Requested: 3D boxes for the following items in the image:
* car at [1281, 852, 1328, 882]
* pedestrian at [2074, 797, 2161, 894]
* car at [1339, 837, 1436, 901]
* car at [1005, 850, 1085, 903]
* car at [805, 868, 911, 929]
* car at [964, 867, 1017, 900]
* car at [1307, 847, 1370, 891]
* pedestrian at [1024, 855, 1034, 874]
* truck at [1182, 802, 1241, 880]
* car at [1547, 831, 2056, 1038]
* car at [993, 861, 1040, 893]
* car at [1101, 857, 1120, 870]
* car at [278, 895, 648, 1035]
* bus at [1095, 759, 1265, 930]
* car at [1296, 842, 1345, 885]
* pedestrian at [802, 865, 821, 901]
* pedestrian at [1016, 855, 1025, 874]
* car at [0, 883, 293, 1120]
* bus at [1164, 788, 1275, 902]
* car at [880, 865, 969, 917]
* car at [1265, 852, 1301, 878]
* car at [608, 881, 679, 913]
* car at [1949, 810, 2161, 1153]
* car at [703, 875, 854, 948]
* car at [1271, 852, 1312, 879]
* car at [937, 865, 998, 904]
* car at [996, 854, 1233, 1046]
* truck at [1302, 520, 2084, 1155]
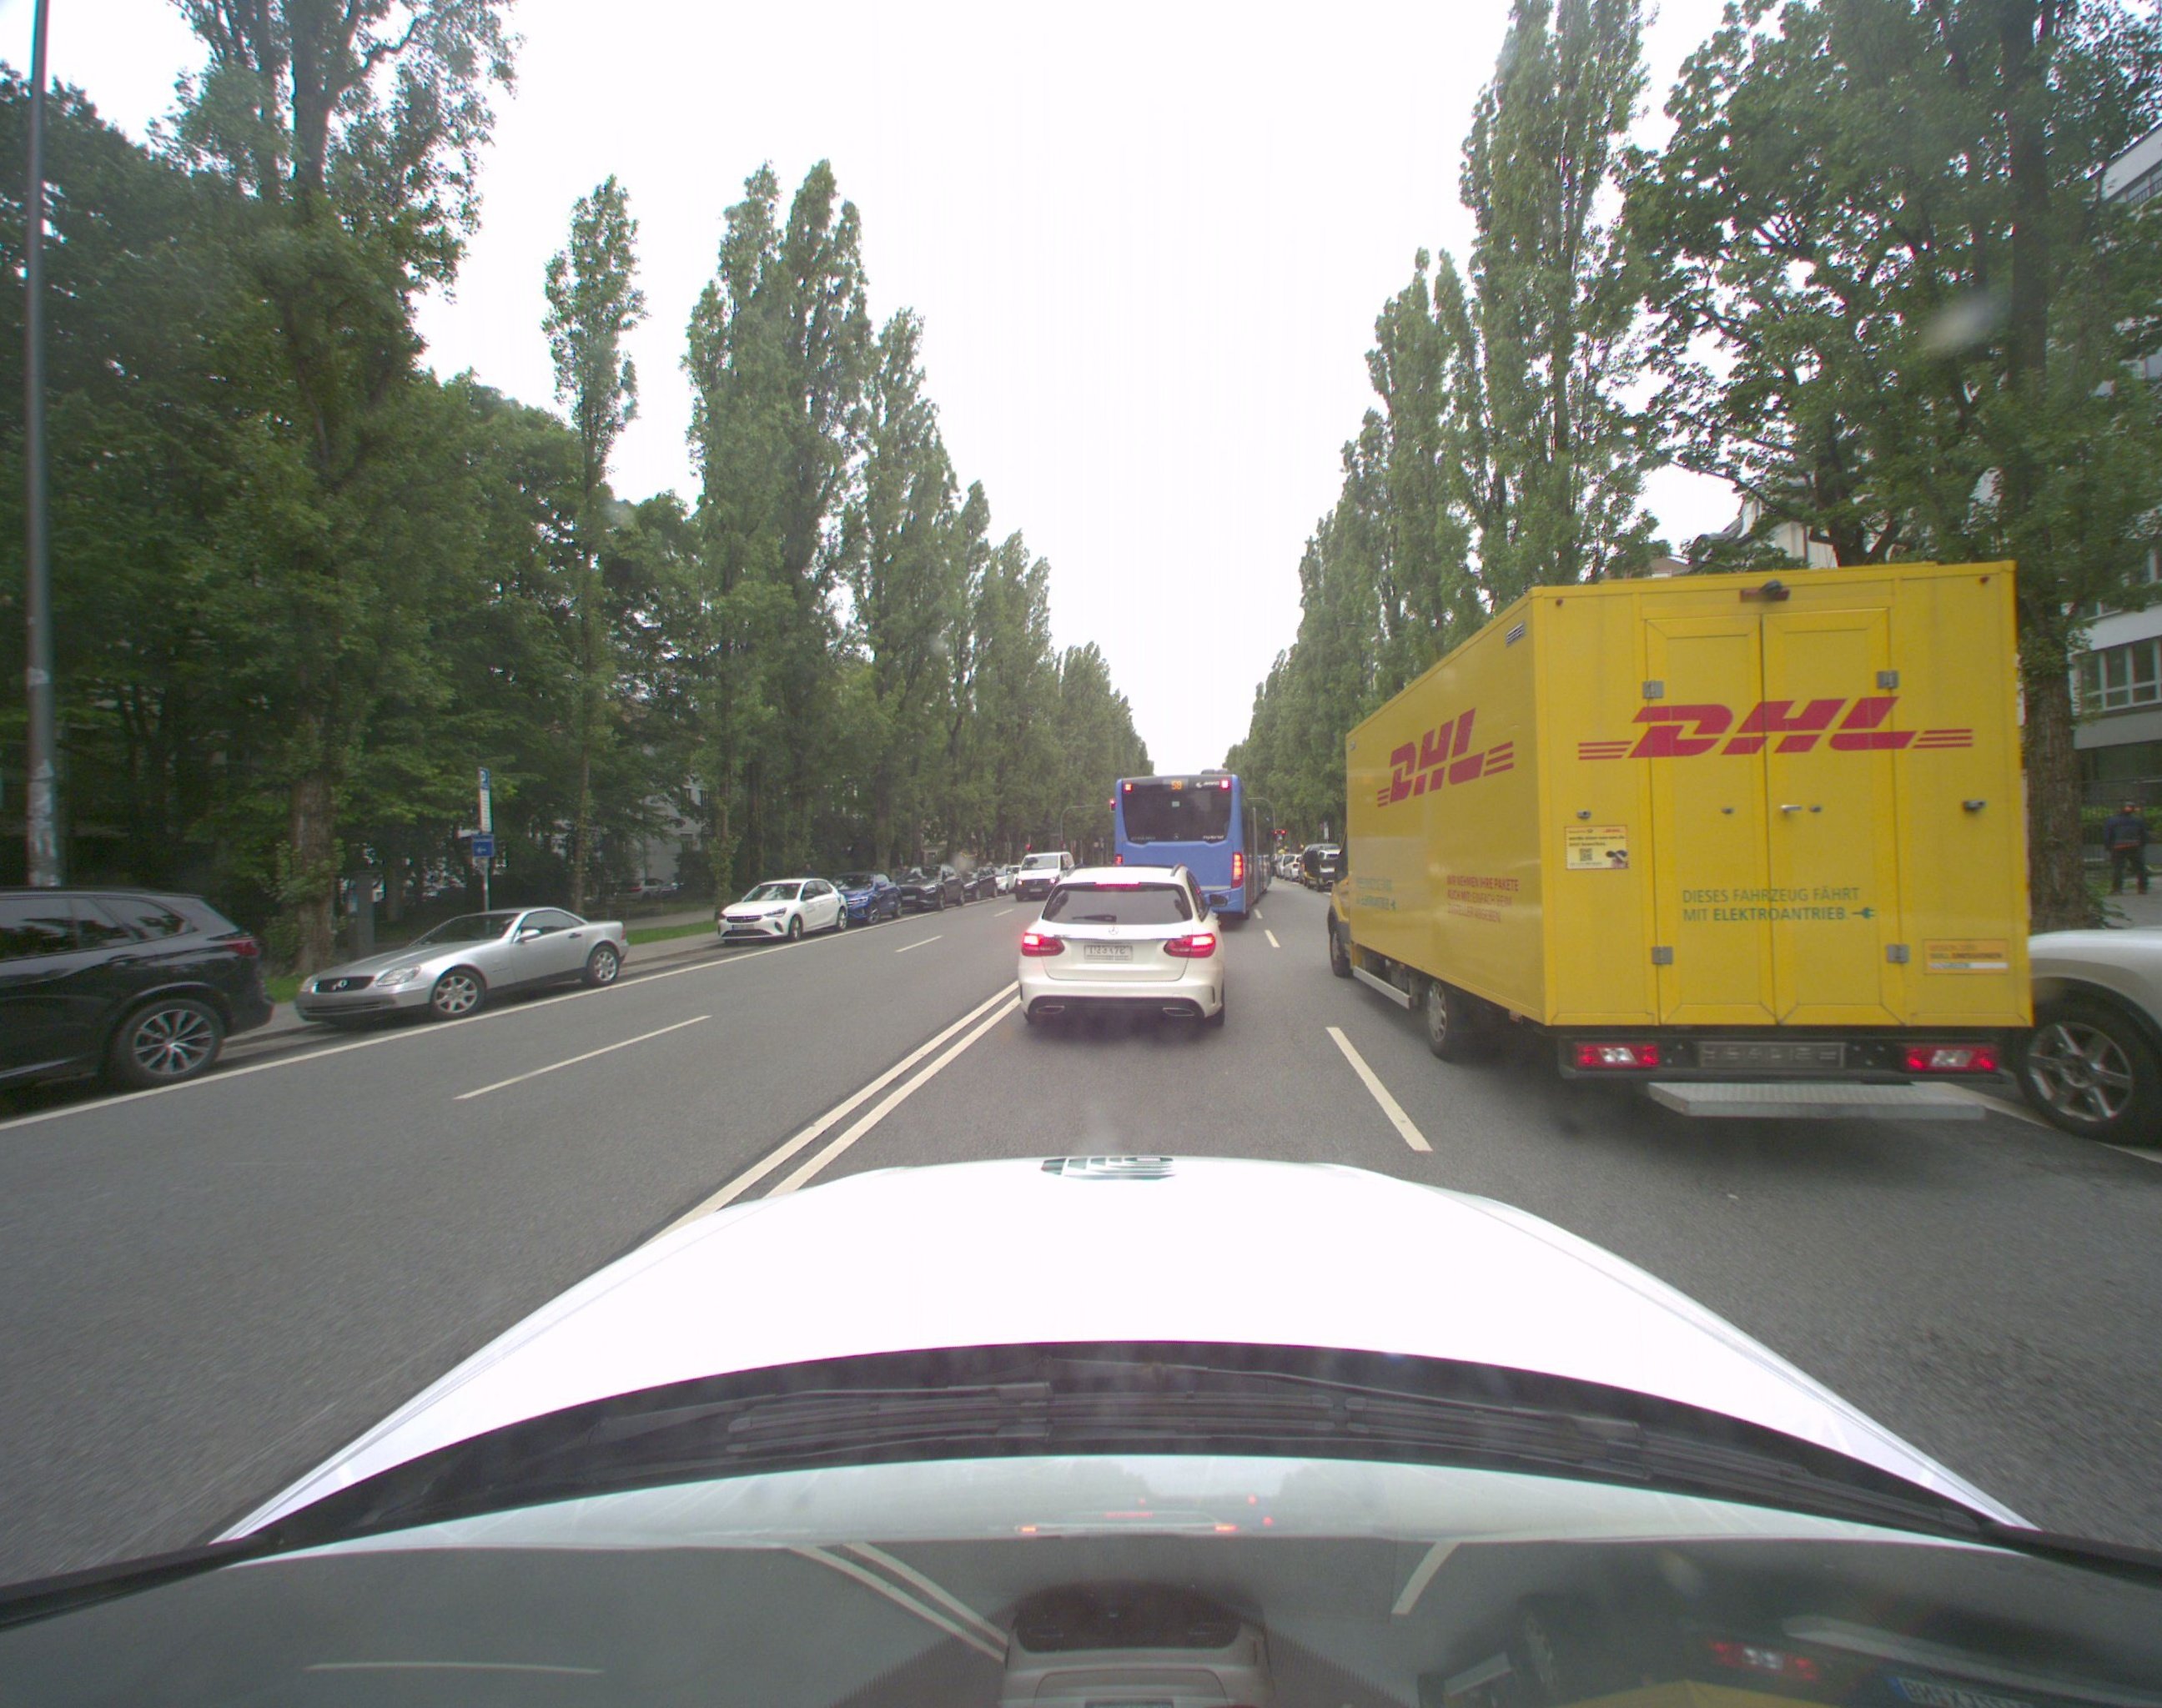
[{"bbox_3d":[11.883,0.653,43.512,1.789,1.475,4.008,-2,0,7],"label":"car"},{"bbox_3d":[20.648,-0.159,16.191,0.927,1.866,0.778,-3,-1,37],"label":"pedestrian"},{"bbox_3d":[9.216,0.412,24.824,1.823,1.773,4.238,0,0,7],"label":"car"},{"bbox_3d":[-1.382,0.878,34.349,2.170,1.891,5.710,-4,-1,9],"label":"car"},{"bbox_3d":[-6.527,1.247,24.311,1.736,1.519,4.121,-4,-1,3],"label":"car"},{"bbox_3d":[-4.397,1.435,40.176,1.666,1.413,4.008,-3,-1,7],"label":"car"},{"bbox_3d":[9.865,0.543,31.469,1.668,1.596,4.096,0,0,8],"label":"car"},{"bbox_3d":[-5.566,1.105,87.266,0.826,2.013,0.779,-2,0,6],"label":"pedestrian"},{"bbox_3d":[7.370,-0.665,46.983,2.702,3.965,9.233,-2,0,6],"label":"truck"},{"bbox_3d":[6.499,0.605,8.146,1.715,1.495,4.334,-2,0,9],"label":"car"},{"bbox_3d":[-3.483,1.221,44.620,1.699,1.548,4.008,-3,-1,7],"label":"car"},{"bbox_3d":[3.532,1.100,96.678,1.811,1.486,4.008,-2,0,7],"label":"car"},{"bbox_3d":[-8.113,1.371,11.252,1.571,1.304,4.038,-4,0,9],"label":"car"},{"bbox_3d":[2.853,-0.170,20.032,2.835,3.213,9.095,-2,0,15],"label":"bus"},{"bbox_3d":[10.922,0.397,37.324,1.693,1.836,4.011,-1,0,10],"label":"car"},{"bbox_3d":[-13.667,1.463,41.310,0.596,1.739,0.642,-2,-1,8],"label":"pedestrian"},{"bbox_3d":[-6.479,1.129,87.172,0.826,2.013,0.779,-2,0,6],"label":"pedestrian"},{"bbox_3d":[-8.943,1.194,5.682,1.870,1.658,4.727,-5,0,7],"label":"car"},{"bbox_3d":[5.229,-0.272,29.015,2.850,3.304,9.829,-2,0,15],"label":"bus"},{"bbox_3d":[-5.554,1.264,29.516,1.781,1.548,4.347,-5,-1,7],"label":"car"},{"bbox_3d":[13.291,0.708,53.745,1.799,1.618,4.008,-2,0,7],"label":"car"},{"bbox_3d":[-26.866,2.615,50.166,1.987,1.684,4.266,-2,0,0],"label":"car"},{"bbox_3d":[5.716,0.586,2.628,1.771,1.581,4.156,0,0,8],"label":"car"},{"bbox_3d":[-7.182,1.316,19.784,1.676,1.413,4.012,-4,-1,7],"label":"car"},{"bbox_3d":[12.516,0.646,48.628,1.776,1.492,4.008,-2,0,7],"label":"car"},{"bbox_3d":[-4.895,1.285,35.606,1.531,1.433,3.877,-5,-1,7],"label":"car"},{"bbox_3d":[0.578,0.747,8.566,1.815,1.454,4.593,-1,0,8],"label":"car"},{"bbox_3d":[3.802,-0.040,7.477,2.315,2.898,7.347,-2,0,7],"label":"truck"}]
